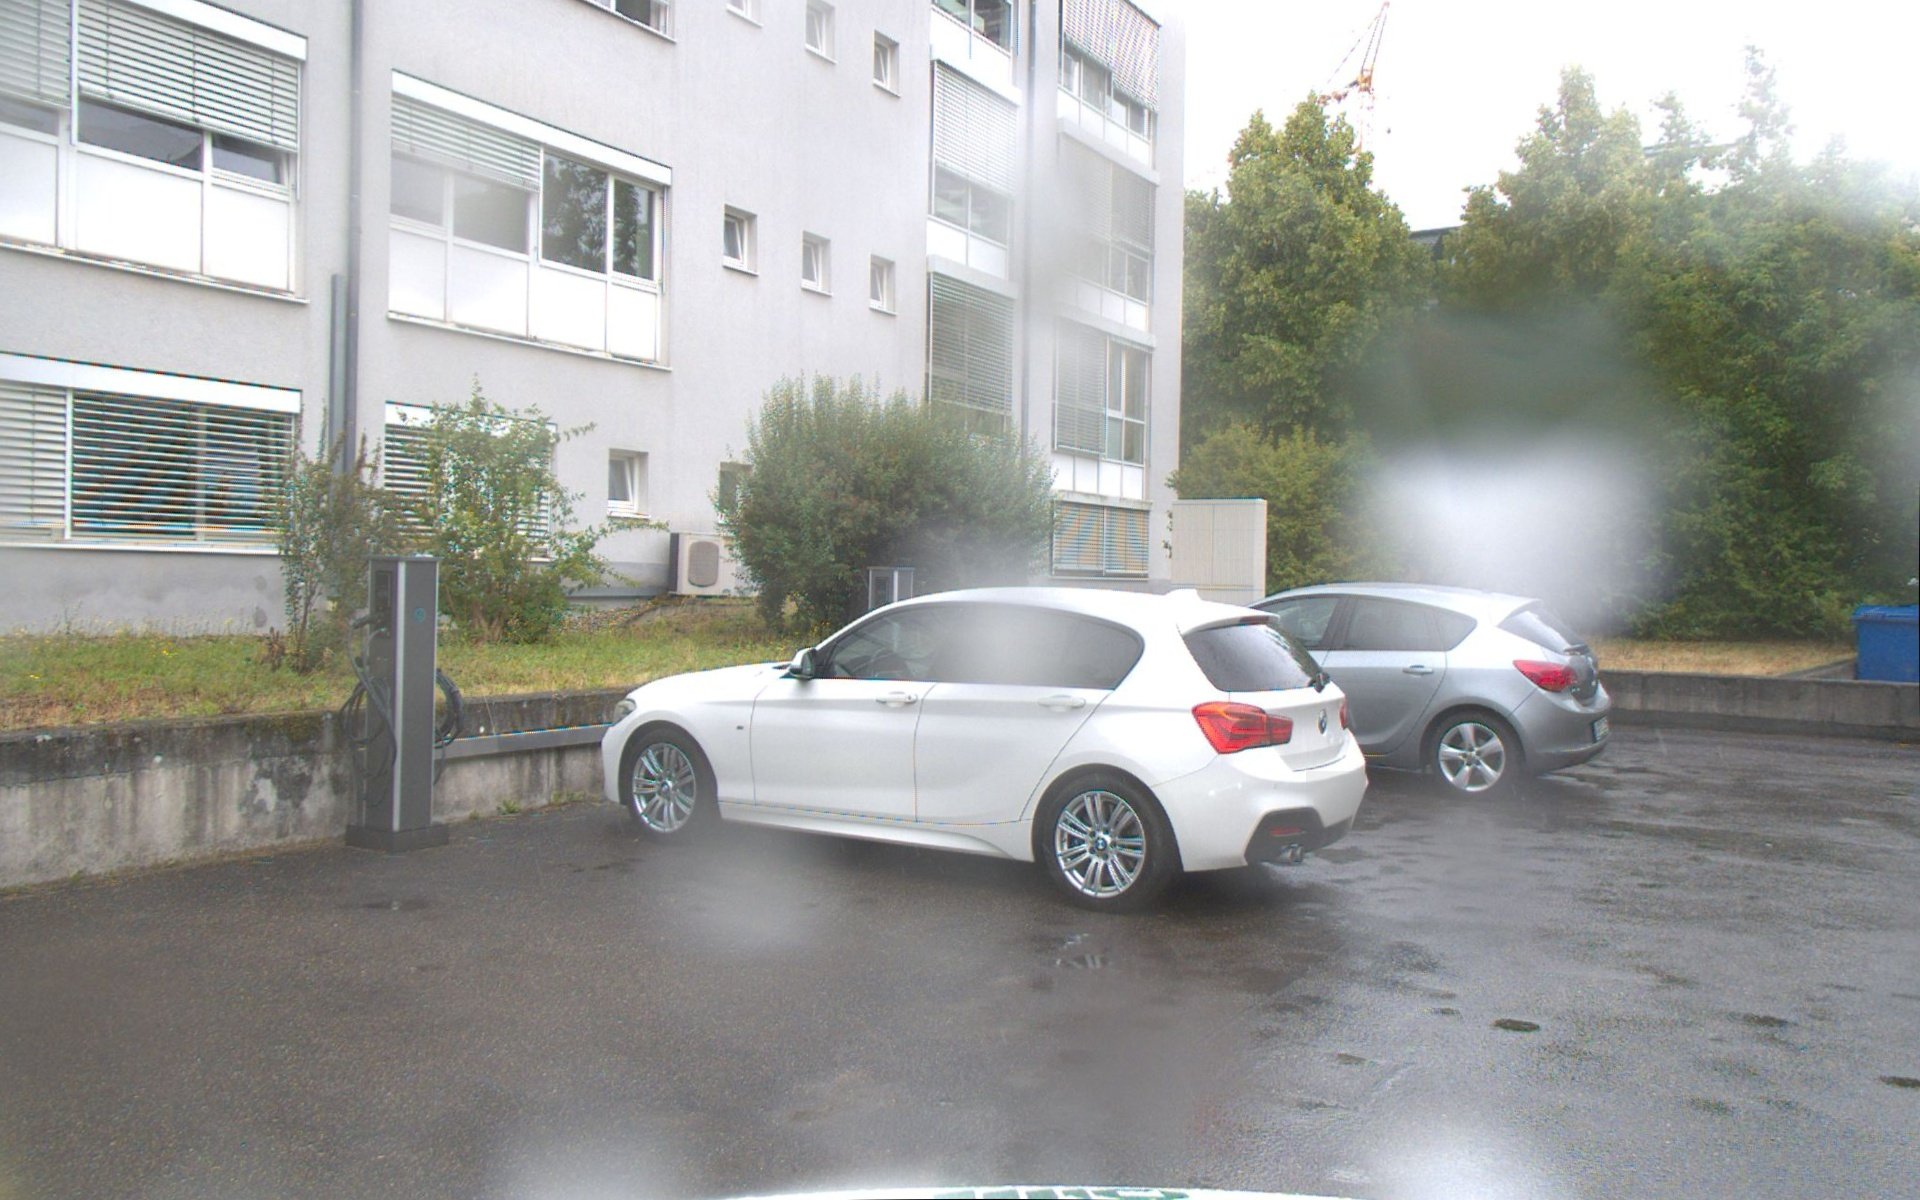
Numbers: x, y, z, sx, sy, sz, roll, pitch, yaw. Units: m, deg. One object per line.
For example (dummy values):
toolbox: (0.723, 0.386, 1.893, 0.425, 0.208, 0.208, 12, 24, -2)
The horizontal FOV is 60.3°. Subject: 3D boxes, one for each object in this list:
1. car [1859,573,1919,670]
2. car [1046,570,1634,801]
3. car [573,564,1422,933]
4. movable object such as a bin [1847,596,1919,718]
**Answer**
car: (20.868, 0.471, 33.332, 4.606, 1.915, 2.114, 0, -3, 37)
car: (2.974, 0.567, 13.129, 4.131, 1.515, 1.995, 1, 0, 32)
car: (0.144, 0.611, 8.915, 4.131, 1.515, 1.995, 1, 0, 32)
movable object such as a bin: (11.284, 0.676, 19.557, 1.208, 1.382, 1.964, 0, -2, 34)
